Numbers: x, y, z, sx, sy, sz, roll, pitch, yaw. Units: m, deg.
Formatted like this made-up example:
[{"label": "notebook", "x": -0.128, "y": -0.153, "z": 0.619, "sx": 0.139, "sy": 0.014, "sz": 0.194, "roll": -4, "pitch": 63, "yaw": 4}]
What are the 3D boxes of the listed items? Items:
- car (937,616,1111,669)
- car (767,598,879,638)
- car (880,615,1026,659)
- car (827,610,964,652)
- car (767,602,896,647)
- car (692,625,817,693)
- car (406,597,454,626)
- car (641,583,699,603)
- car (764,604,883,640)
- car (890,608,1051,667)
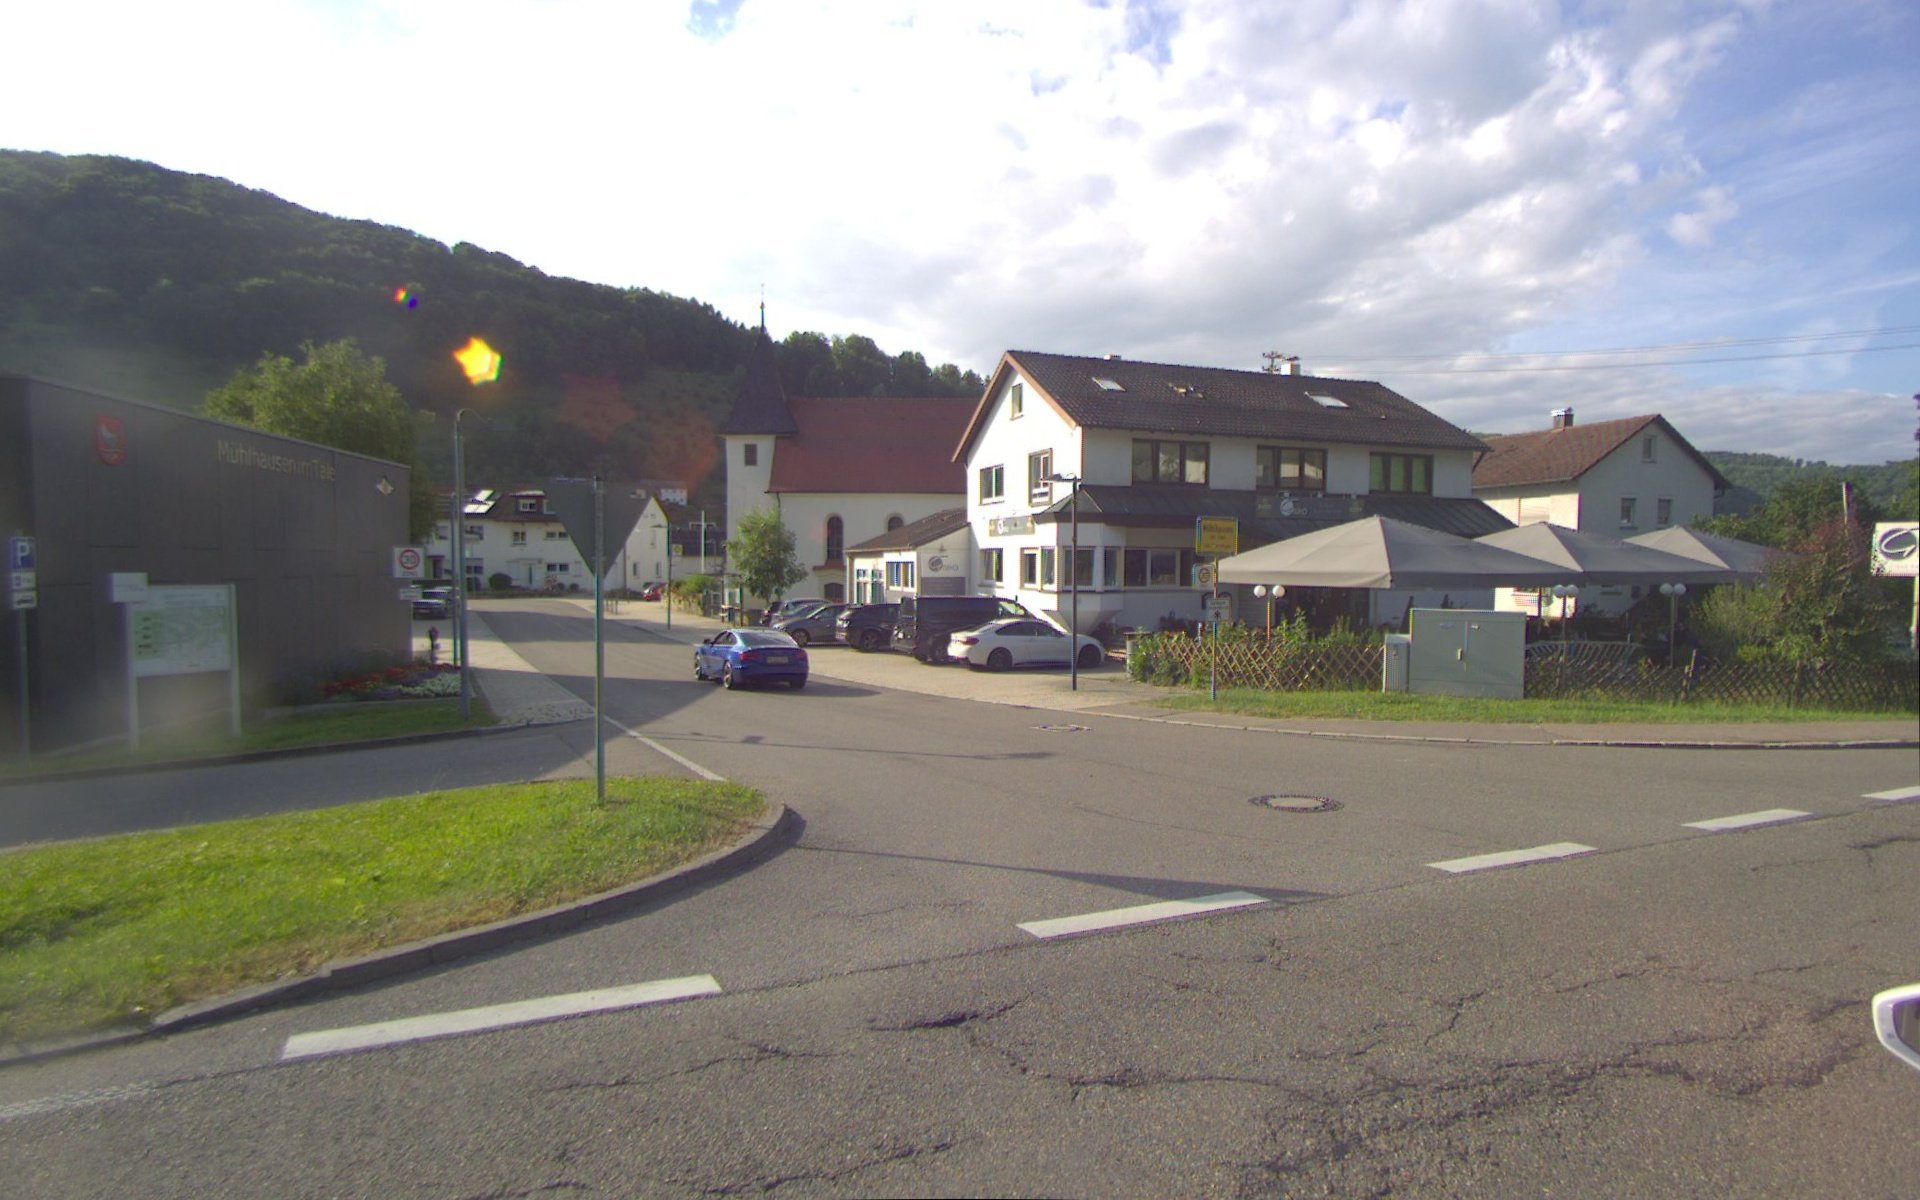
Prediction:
[{"label": "car", "x": 1.814, "y": 1.161, "z": 28.420, "sx": 4.512, "sy": 1.408, "sz": 1.989, "roll": 1, "pitch": -1, "yaw": -24}, {"label": "car", "x": -6.020, "y": 0.796, "z": 44.047, "sx": 4.512, "sy": 1.665, "sz": 1.989, "roll": 1, "pitch": -1, "yaw": -24}, {"label": "car", "x": -0.236, "y": 1.218, "z": 33.867, "sx": 4.512, "sy": 1.408, "sz": 1.989, "roll": 1, "pitch": -1, "yaw": -24}, {"label": "car", "x": -2.298, "y": 1.088, "z": 35.896, "sx": 4.512, "sy": 1.431, "sz": 1.989, "roll": 1, "pitch": -1, "yaw": -24}, {"label": "car", "x": -4.882, "y": 0.915, "z": 38.204, "sx": 4.512, "sy": 1.618, "sz": 1.989, "roll": 1, "pitch": -1, "yaw": -24}, {"label": "car", "x": -4.976, "y": 1.337, "z": 23.910, "sx": 1.813, "sy": 1.428, "sz": 4.195, "roll": 1, "pitch": -1, "yaw": -28}, {"label": "car", "x": -28.739, "y": 0.592, "z": 54.457, "sx": 1.979, "sy": 1.534, "sz": 3.964, "roll": 0, "pitch": 0, "yaw": -33}, {"label": "car", "x": -22.383, "y": -0.537, "z": 77.494, "sx": 3.951, "sy": 1.528, "sz": 1.985, "roll": 0, "pitch": 0, "yaw": -29}, {"label": "car", "x": -5.632, "y": 0.911, "z": 41.420, "sx": 4.512, "sy": 1.431, "sz": 1.989, "roll": 1, "pitch": -1, "yaw": -24}, {"label": "car", "x": 0.321, "y": 1.123, "z": 30.677, "sx": 4.512, "sy": 1.707, "sz": 1.989, "roll": 1, "pitch": -1, "yaw": -24}]
